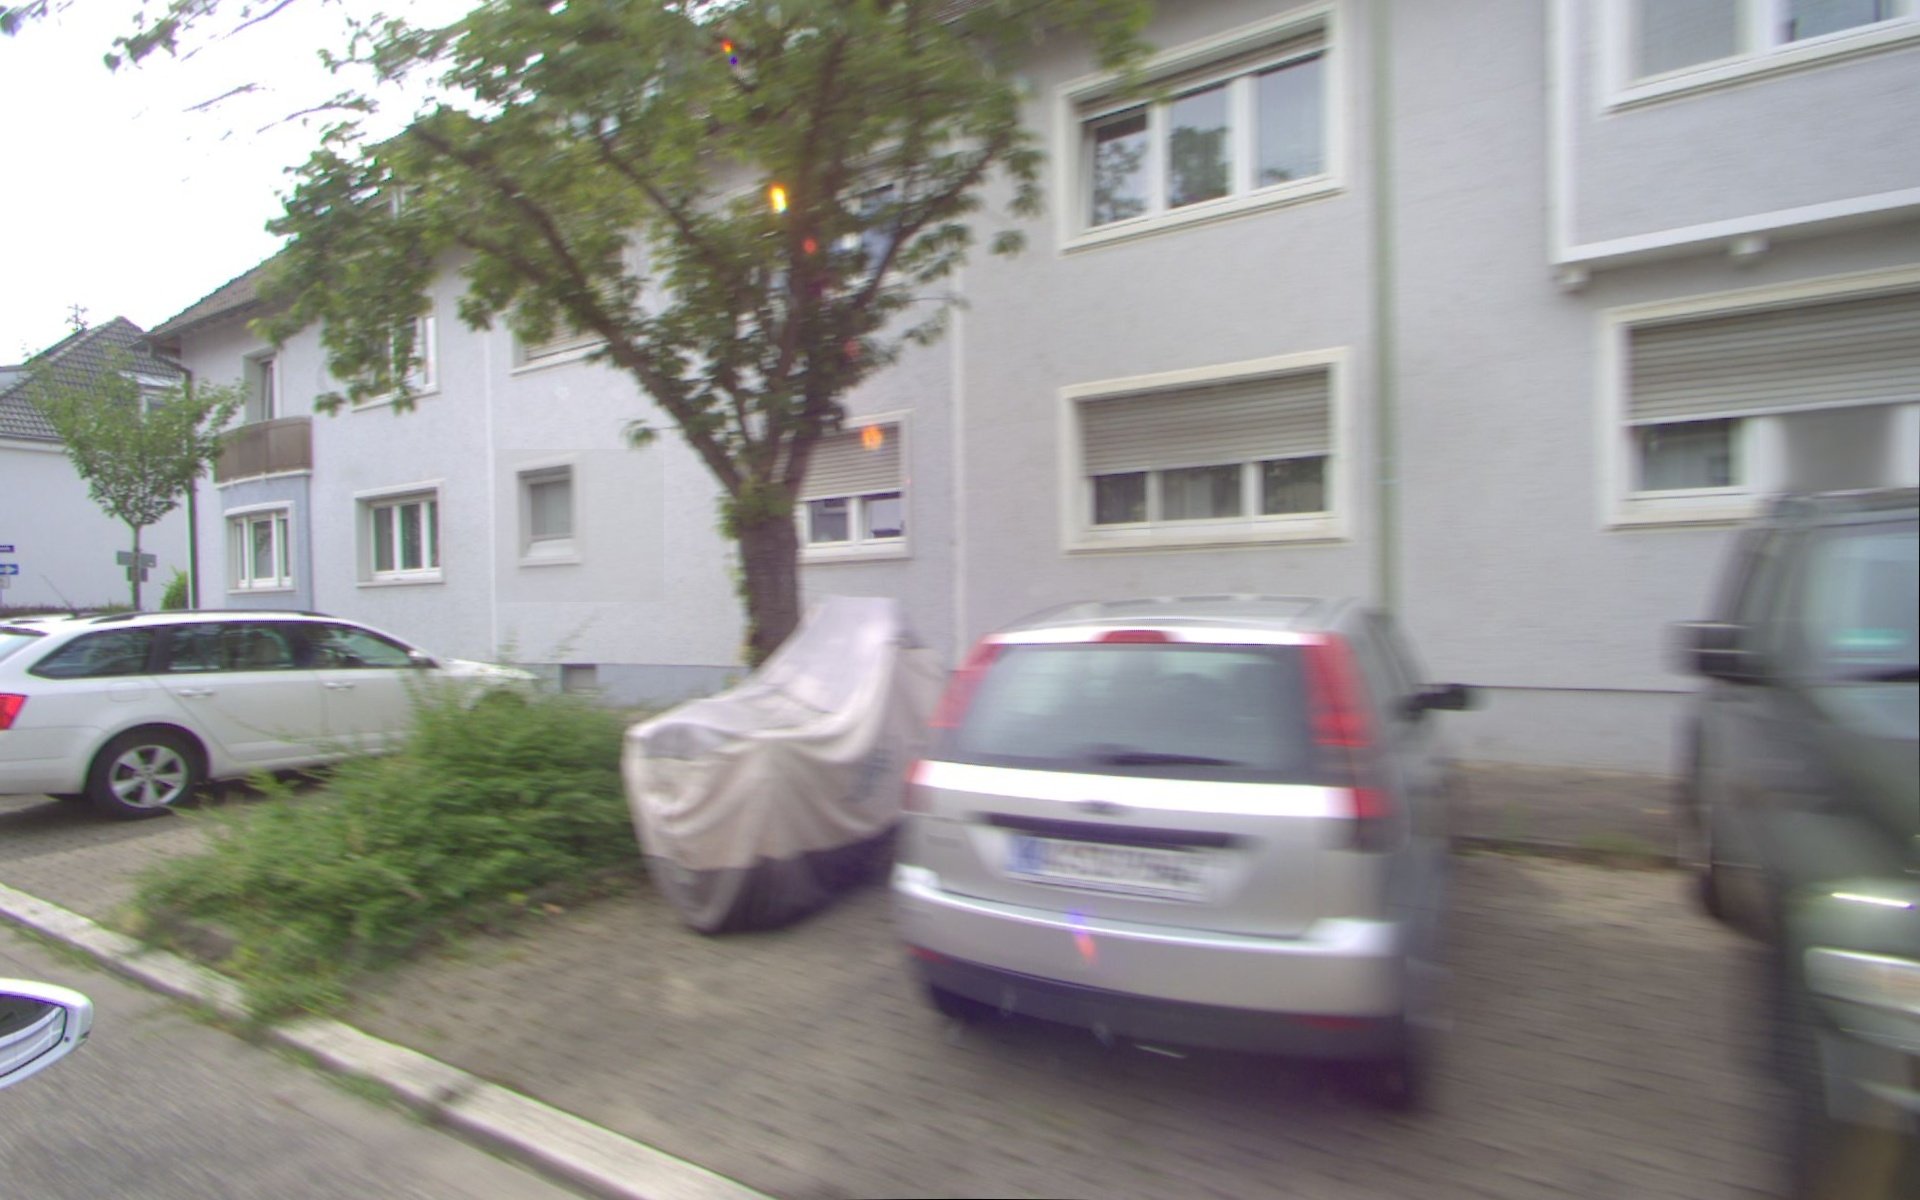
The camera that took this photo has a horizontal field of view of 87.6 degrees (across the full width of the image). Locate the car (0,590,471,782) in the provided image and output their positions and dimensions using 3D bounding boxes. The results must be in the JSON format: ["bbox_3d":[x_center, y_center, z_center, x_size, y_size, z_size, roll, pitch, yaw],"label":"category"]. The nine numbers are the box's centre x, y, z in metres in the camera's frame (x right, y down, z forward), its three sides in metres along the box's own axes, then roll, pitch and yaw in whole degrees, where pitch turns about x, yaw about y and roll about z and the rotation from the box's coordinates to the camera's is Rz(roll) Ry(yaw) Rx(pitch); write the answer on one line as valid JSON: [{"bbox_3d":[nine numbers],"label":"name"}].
[{"bbox_3d":[-7.632,0.739,10.722,1.688,1.528,3.976,-1,2,32],"label":"car"}]

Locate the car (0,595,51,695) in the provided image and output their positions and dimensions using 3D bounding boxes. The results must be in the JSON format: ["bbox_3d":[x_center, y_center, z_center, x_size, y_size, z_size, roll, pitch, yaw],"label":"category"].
[{"bbox_3d":[-17.510,0.831,16.082,1.842,1.655,3.912,-1,2,33],"label":"car"}]

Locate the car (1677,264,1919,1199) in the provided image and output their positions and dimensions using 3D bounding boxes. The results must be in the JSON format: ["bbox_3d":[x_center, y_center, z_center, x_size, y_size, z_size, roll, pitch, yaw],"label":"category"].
[{"bbox_3d":[3.137,0.405,2.774,1.769,1.883,4.510,-1,2,35],"label":"car"}]

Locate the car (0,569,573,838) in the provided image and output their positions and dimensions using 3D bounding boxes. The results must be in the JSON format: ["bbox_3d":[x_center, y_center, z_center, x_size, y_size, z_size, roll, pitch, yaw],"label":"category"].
[{"bbox_3d":[-5.948,0.640,8.635,1.866,1.686,4.601,-1,2,33],"label":"car"}]

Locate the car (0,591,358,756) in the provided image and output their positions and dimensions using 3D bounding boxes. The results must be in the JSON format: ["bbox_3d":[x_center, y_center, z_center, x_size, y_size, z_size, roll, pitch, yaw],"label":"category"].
[{"bbox_3d":[-9.529,0.745,11.627,1.688,1.528,3.976,-1,2,32],"label":"car"}]

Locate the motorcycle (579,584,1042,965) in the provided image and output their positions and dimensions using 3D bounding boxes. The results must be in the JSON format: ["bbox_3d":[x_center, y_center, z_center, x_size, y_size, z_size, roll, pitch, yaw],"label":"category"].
[{"bbox_3d":[-0.573,0.679,5.327,1.015,1.483,2.698,-1,0,28],"label":"motorcycle"}]

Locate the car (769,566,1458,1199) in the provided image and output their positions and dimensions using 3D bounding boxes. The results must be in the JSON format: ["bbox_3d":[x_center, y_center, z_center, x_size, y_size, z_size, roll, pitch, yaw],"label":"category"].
[{"bbox_3d":[1.061,0.637,4.222,1.746,1.474,3.619,-1,2,28],"label":"car"}]

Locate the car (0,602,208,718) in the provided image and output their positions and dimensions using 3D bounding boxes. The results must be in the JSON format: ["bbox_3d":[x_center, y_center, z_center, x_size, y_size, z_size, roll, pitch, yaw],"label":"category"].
[{"bbox_3d":[-13.159,0.835,13.892,1.688,1.441,3.976,-1,2,32],"label":"car"}]
